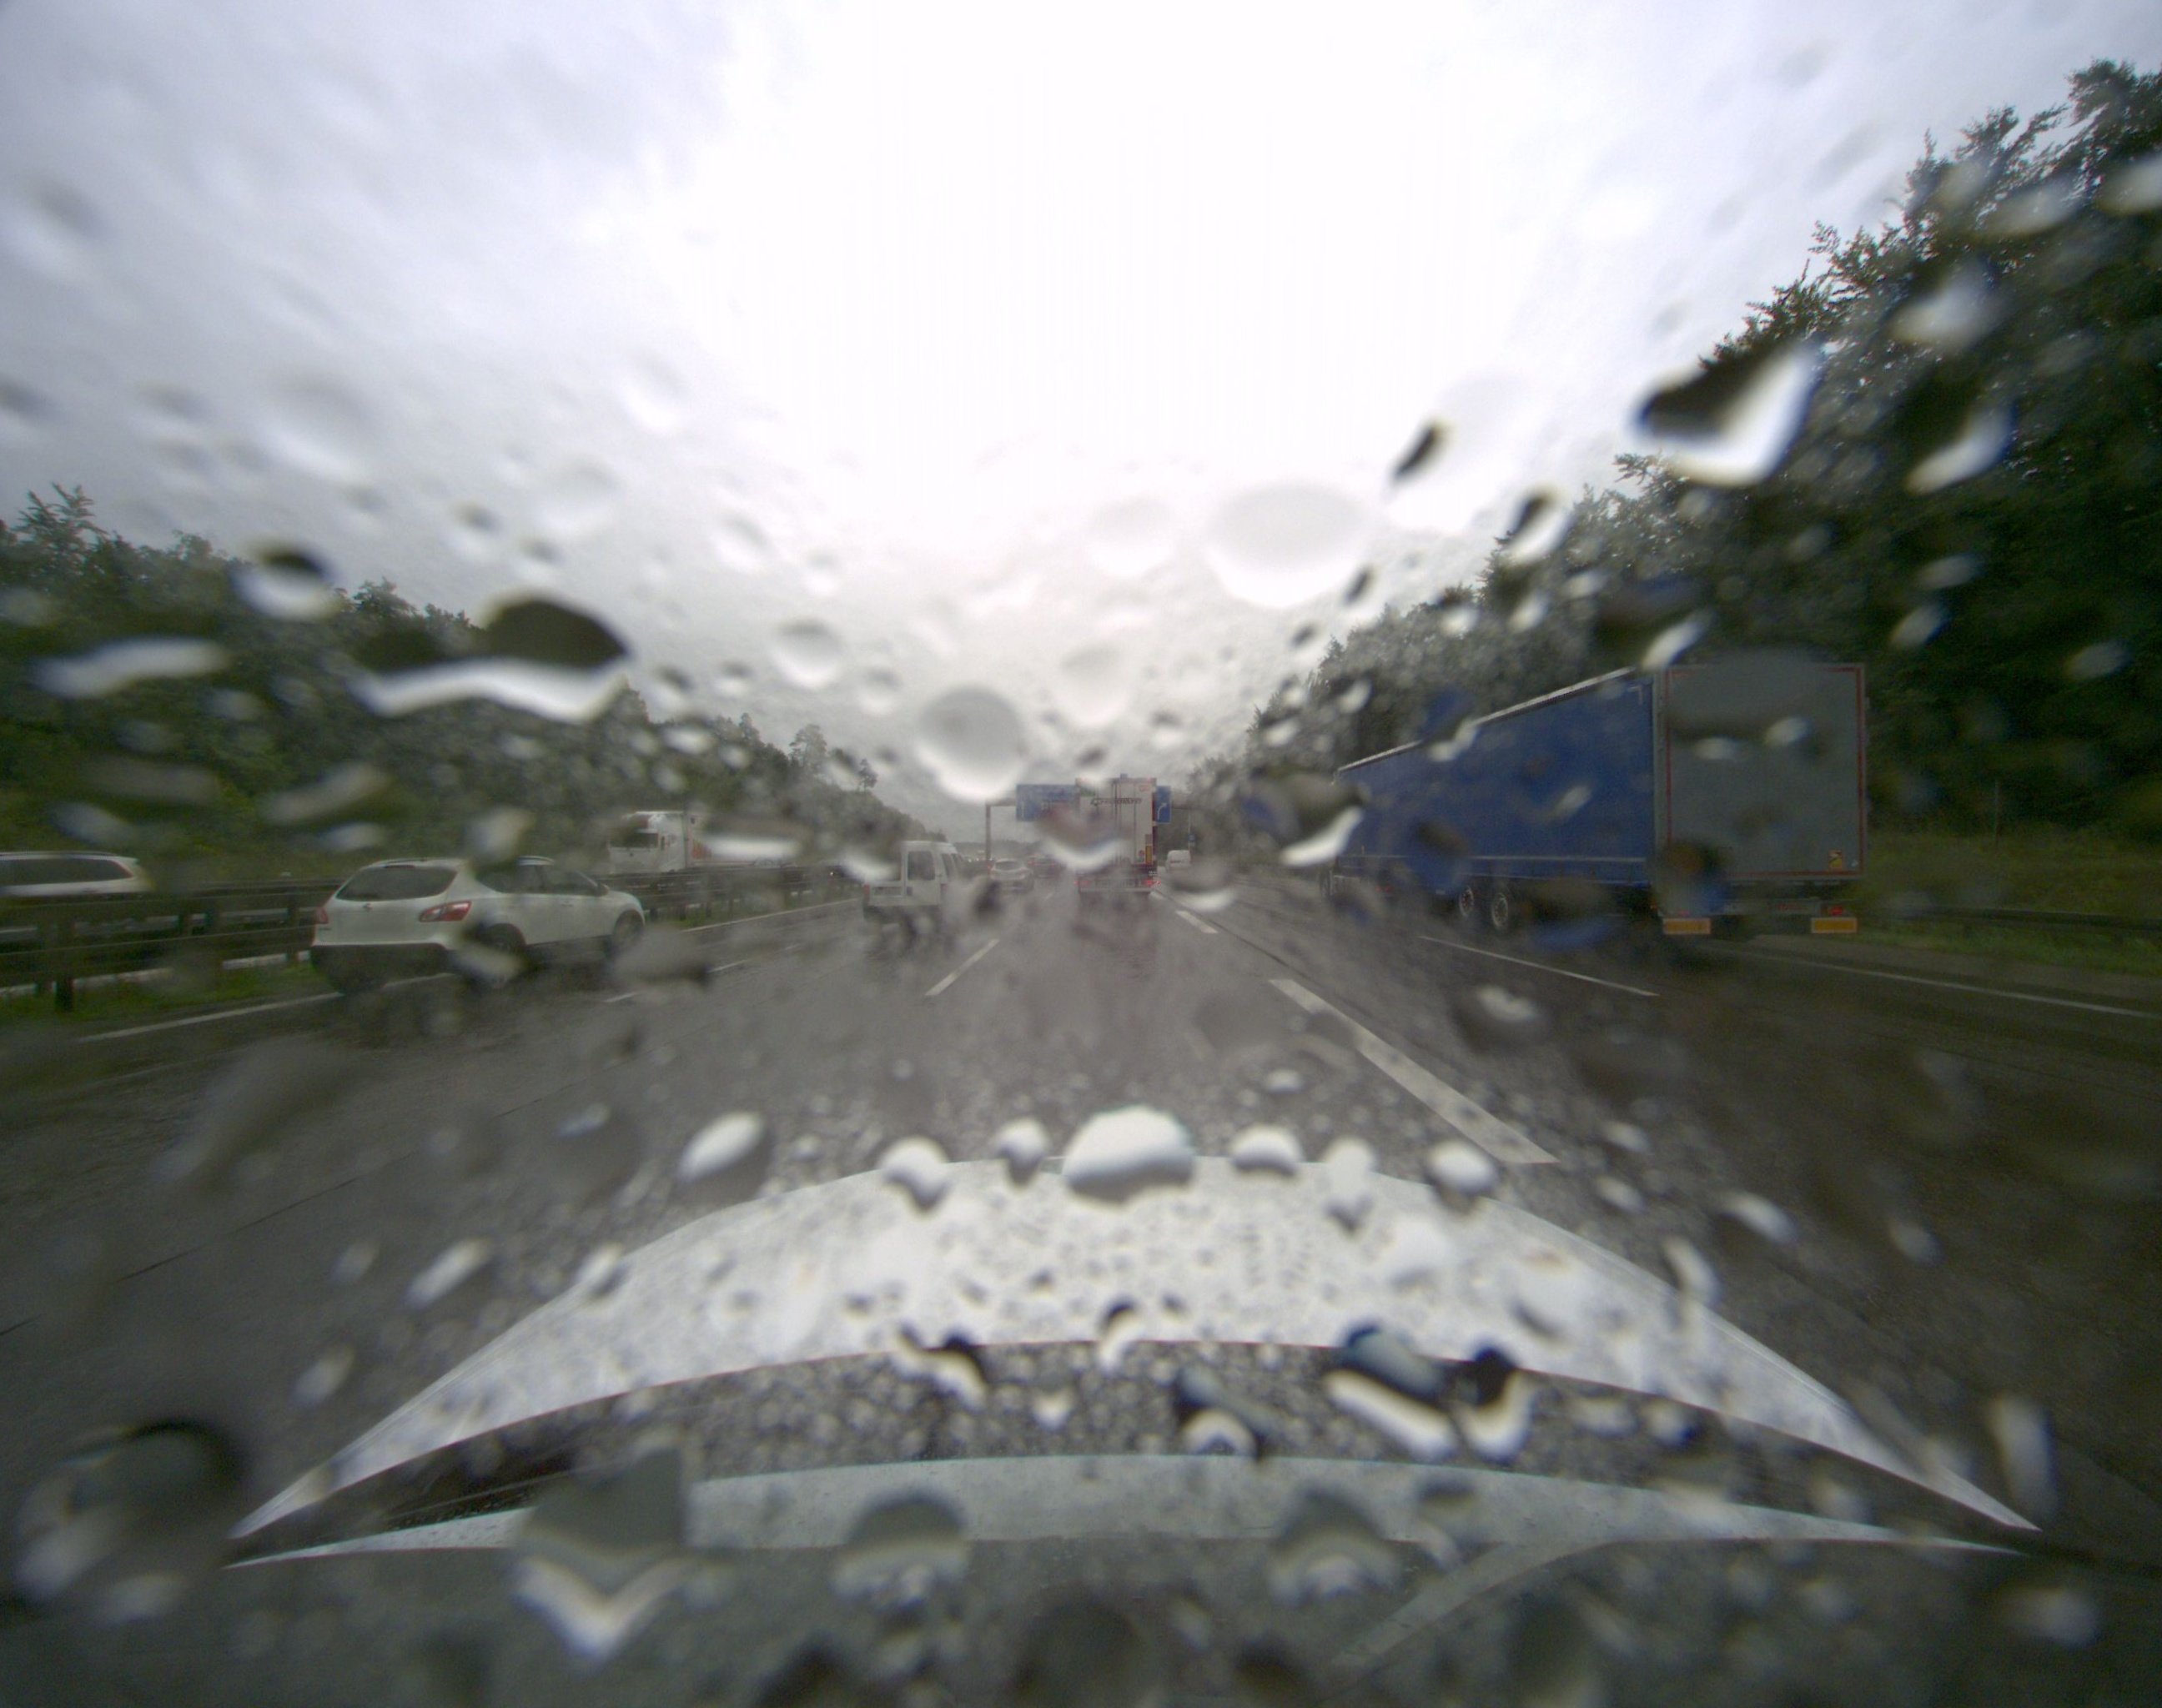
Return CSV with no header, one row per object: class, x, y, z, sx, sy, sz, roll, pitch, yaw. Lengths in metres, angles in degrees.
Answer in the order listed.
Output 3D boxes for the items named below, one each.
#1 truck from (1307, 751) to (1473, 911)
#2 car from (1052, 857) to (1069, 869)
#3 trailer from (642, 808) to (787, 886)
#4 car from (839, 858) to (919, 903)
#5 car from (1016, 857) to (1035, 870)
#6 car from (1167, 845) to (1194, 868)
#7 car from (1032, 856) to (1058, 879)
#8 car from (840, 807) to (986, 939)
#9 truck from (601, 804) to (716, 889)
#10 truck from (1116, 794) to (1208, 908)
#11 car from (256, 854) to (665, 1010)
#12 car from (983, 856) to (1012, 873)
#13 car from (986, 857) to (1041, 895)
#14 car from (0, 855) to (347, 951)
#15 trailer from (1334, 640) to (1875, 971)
truck,8.586,-0.572,23.472,2.592,4.014,6.013,0,0,1
car,-2.439,1.109,96.954,1.839,1.330,4.468,0,0,1
trailer,-21.467,-0.329,49.062,2.532,4.025,13.848,0,0,0
car,-7.804,0.967,31.963,1.838,1.591,4.469,0,0,2
car,-6.367,1.082,93.829,1.839,1.330,4.468,0,0,1
car,8.664,0.178,71.206,1.982,1.921,4.770,0,0,2
car,-2.696,0.967,60.316,1.841,1.591,4.461,0,0,-3
car,-3.601,0.362,18.545,2.205,2.573,5.016,0,0,1
truck,-21.450,-0.344,41.794,2.532,4.025,6.324,0,0,0
truck,2.942,-0.073,31.282,2.859,3.562,11.314,0,0,4
car,-7.650,0.819,10.763,1.838,1.591,4.469,0,0,2
car,-6.859,0.836,67.147,1.839,1.330,4.468,0,0,1
car,-2.999,0.945,36.971,1.837,1.591,4.077,0,0,5
car,-18.199,0.869,16.682,1.940,1.677,4.710,0,0,2
trailer,8.506,-0.583,16.778,2.544,4.014,13.716,0,0,1
